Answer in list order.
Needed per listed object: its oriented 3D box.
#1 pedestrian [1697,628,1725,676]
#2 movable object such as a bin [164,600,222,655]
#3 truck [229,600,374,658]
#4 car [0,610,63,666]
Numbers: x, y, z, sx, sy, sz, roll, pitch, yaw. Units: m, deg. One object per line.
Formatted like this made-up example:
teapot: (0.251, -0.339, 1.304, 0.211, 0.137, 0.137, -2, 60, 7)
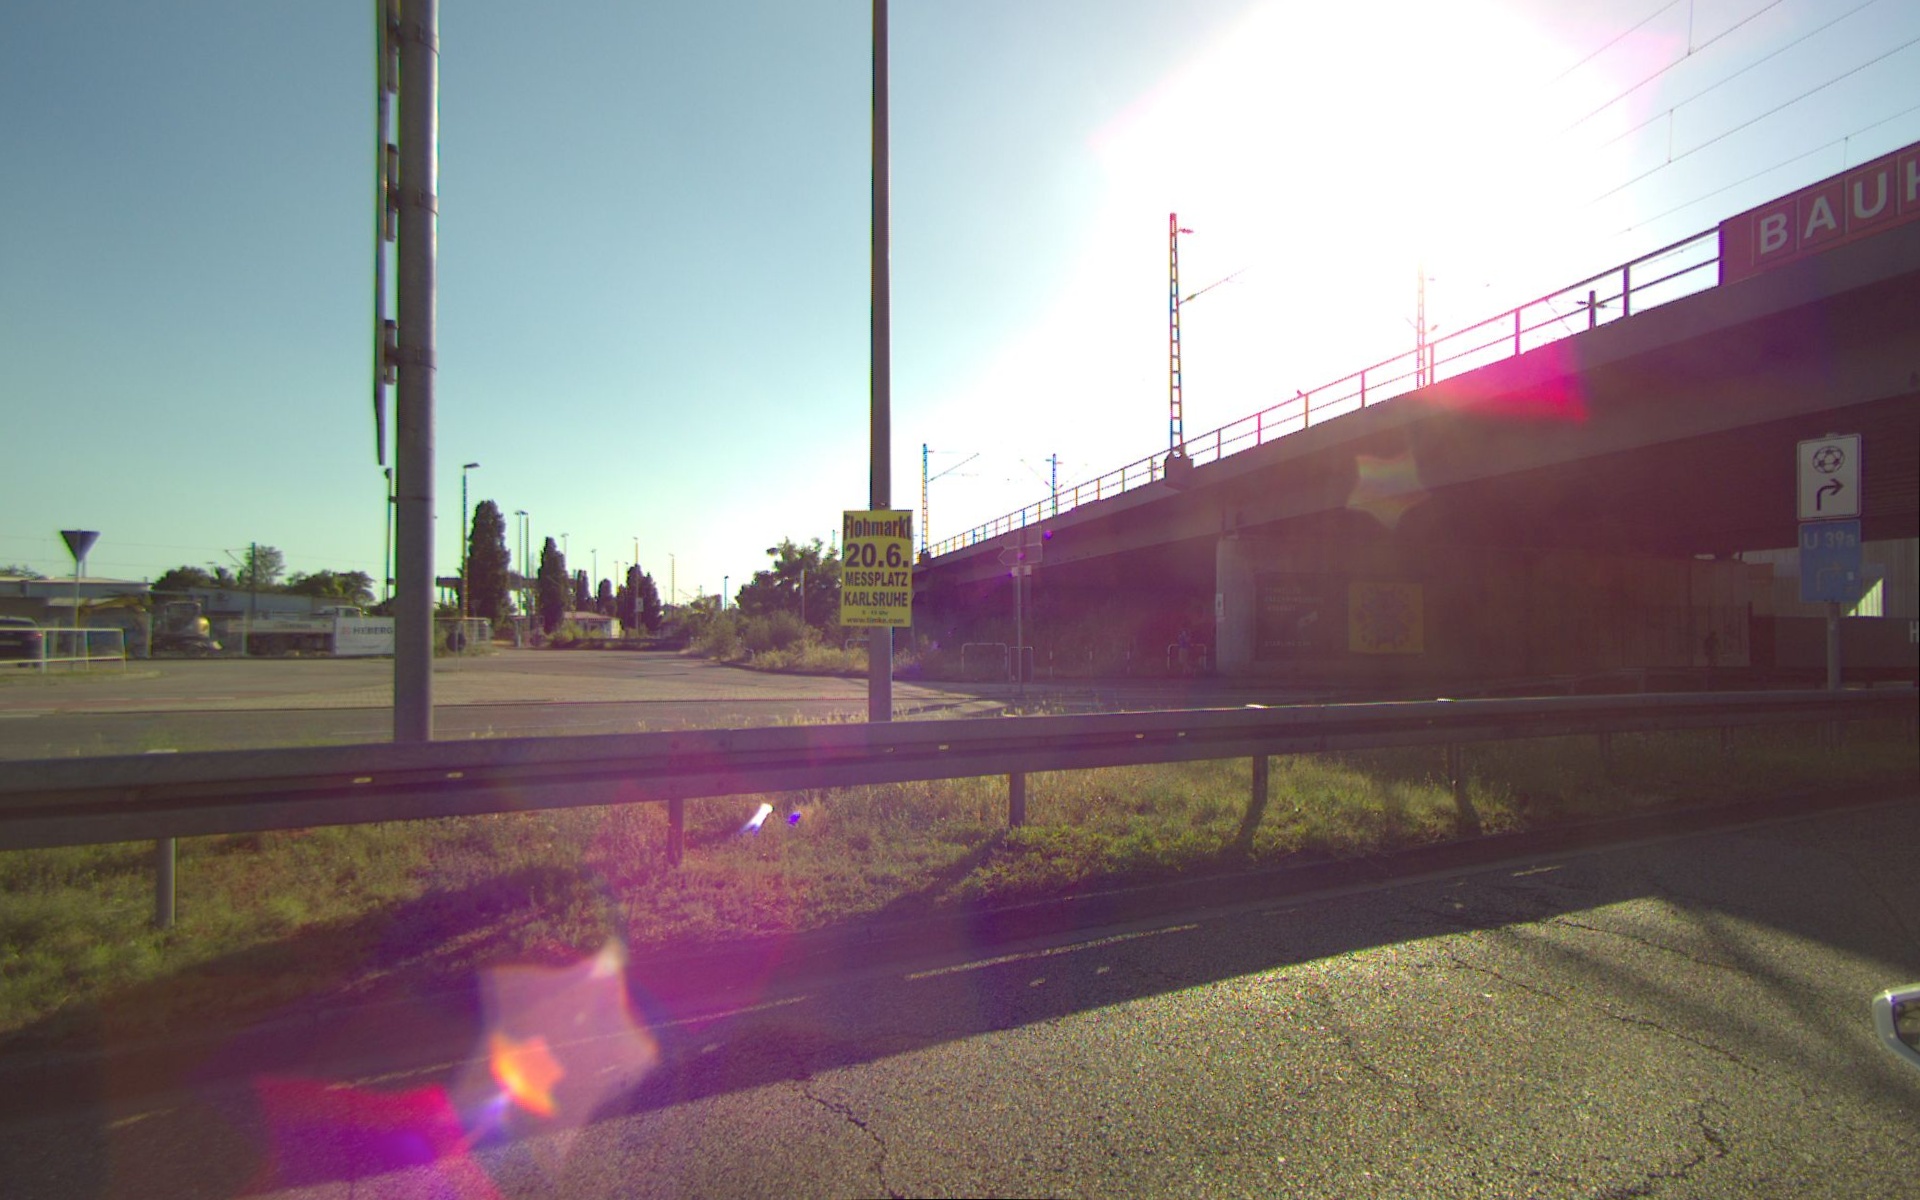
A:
pedestrian: (30.573, 2.104, 40.889, 0.655, 1.928, 0.692, 2, -2, -22)
movable object such as a bin: (-39.198, 1.416, 51.350, 2.203, 2.750, 1.719, 3, -2, -40)
truck: (-38.761, 1.751, 59.359, 2.394, 3.186, 6.771, 1, -2, 27)
car: (-28.235, 1.094, 29.820, 3.941, 1.550, 1.835, 0, -3, 41)
